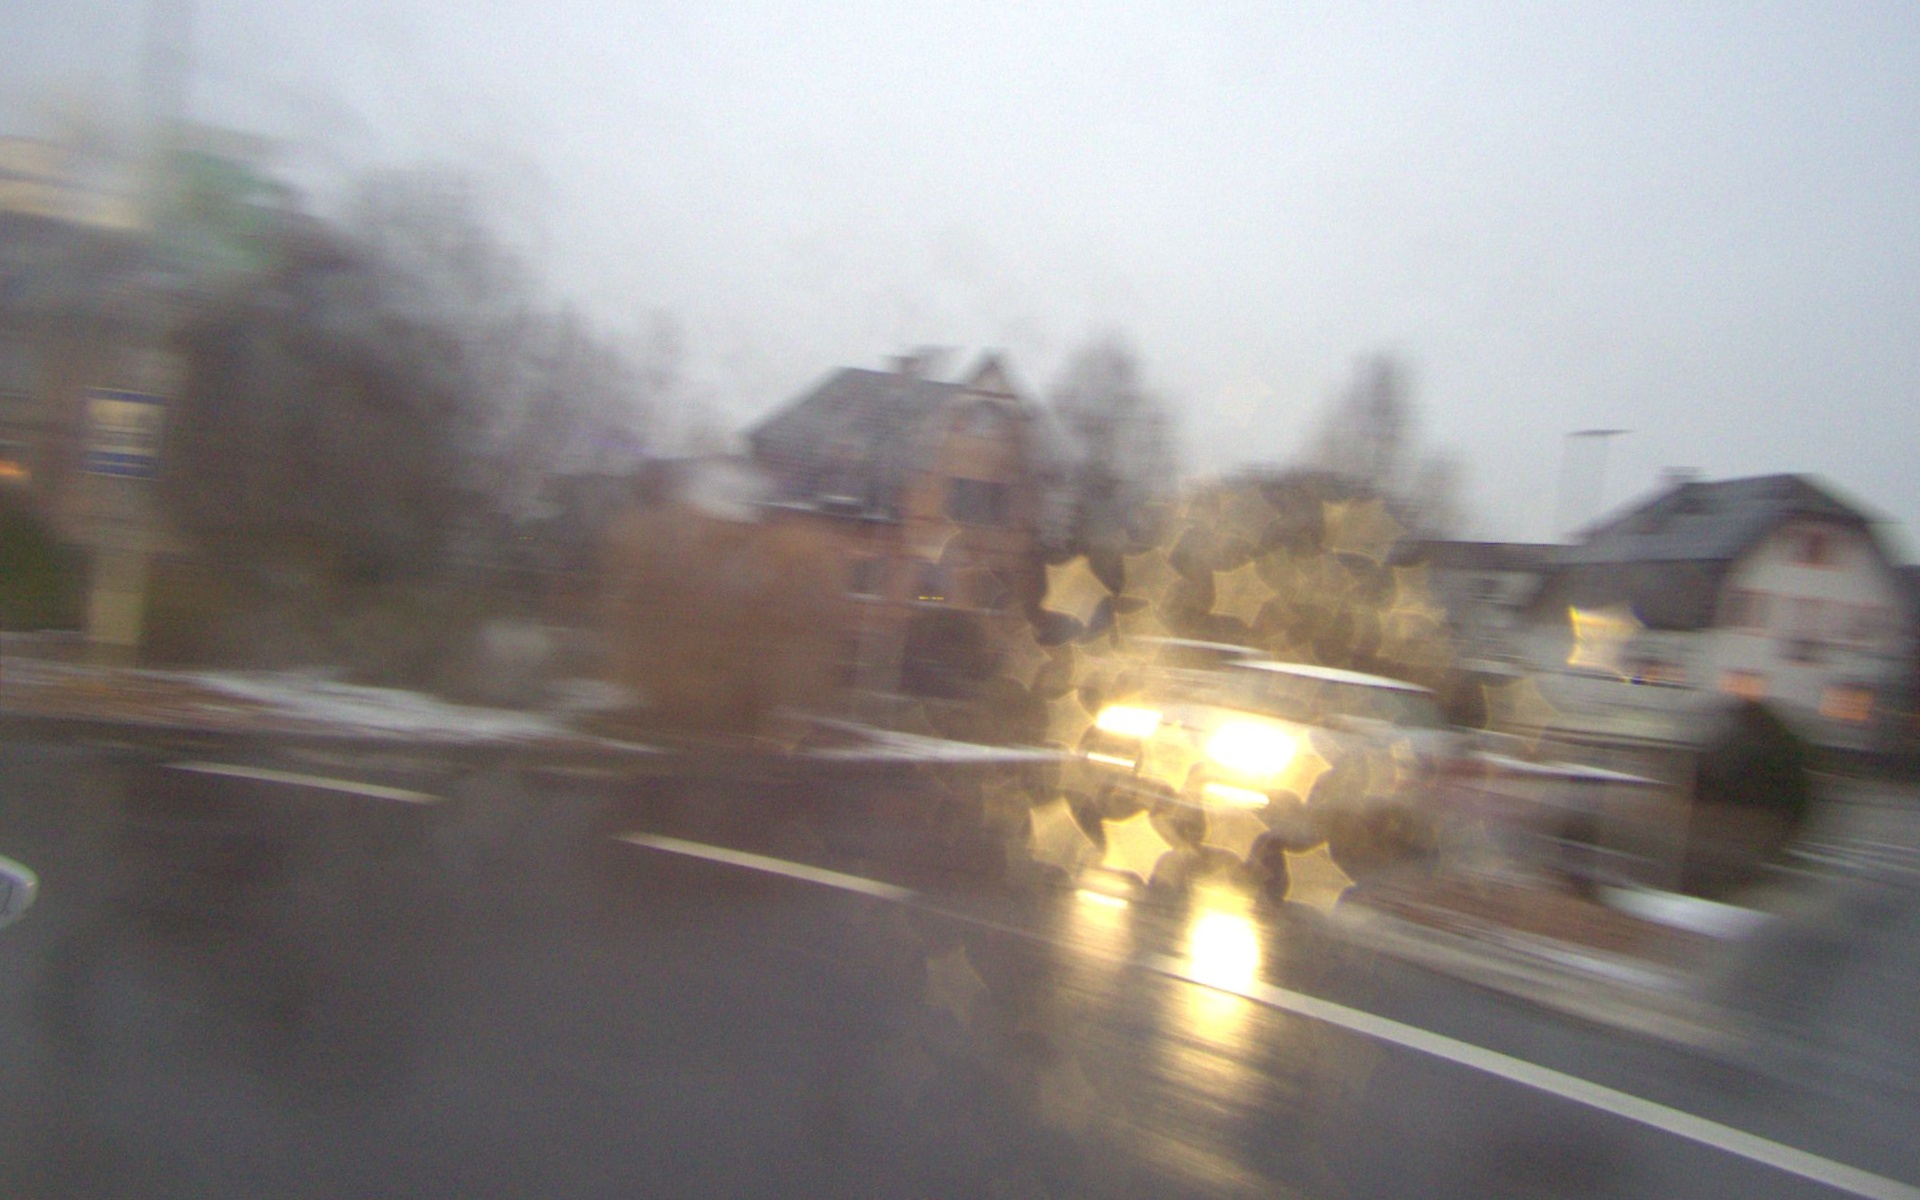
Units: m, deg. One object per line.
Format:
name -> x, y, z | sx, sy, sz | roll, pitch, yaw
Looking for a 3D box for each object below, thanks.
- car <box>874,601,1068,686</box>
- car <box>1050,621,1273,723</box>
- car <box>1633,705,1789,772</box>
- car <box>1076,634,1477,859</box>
car -> 0.261, 1.242, 29.554 | 5.240, 1.890, 2.362 | 5, 1, -10
car -> 5.170, 1.840, 26.103 | 5.158, 1.941, 1.937 | 7, -1, -9
car -> 25.509, 4.668, 34.347 | 1.882, 1.505, 3.992 | 5, 1, -8
car -> 2.980, 1.298, 9.125 | 3.685, 1.509, 1.645 | 9, -2, -40
